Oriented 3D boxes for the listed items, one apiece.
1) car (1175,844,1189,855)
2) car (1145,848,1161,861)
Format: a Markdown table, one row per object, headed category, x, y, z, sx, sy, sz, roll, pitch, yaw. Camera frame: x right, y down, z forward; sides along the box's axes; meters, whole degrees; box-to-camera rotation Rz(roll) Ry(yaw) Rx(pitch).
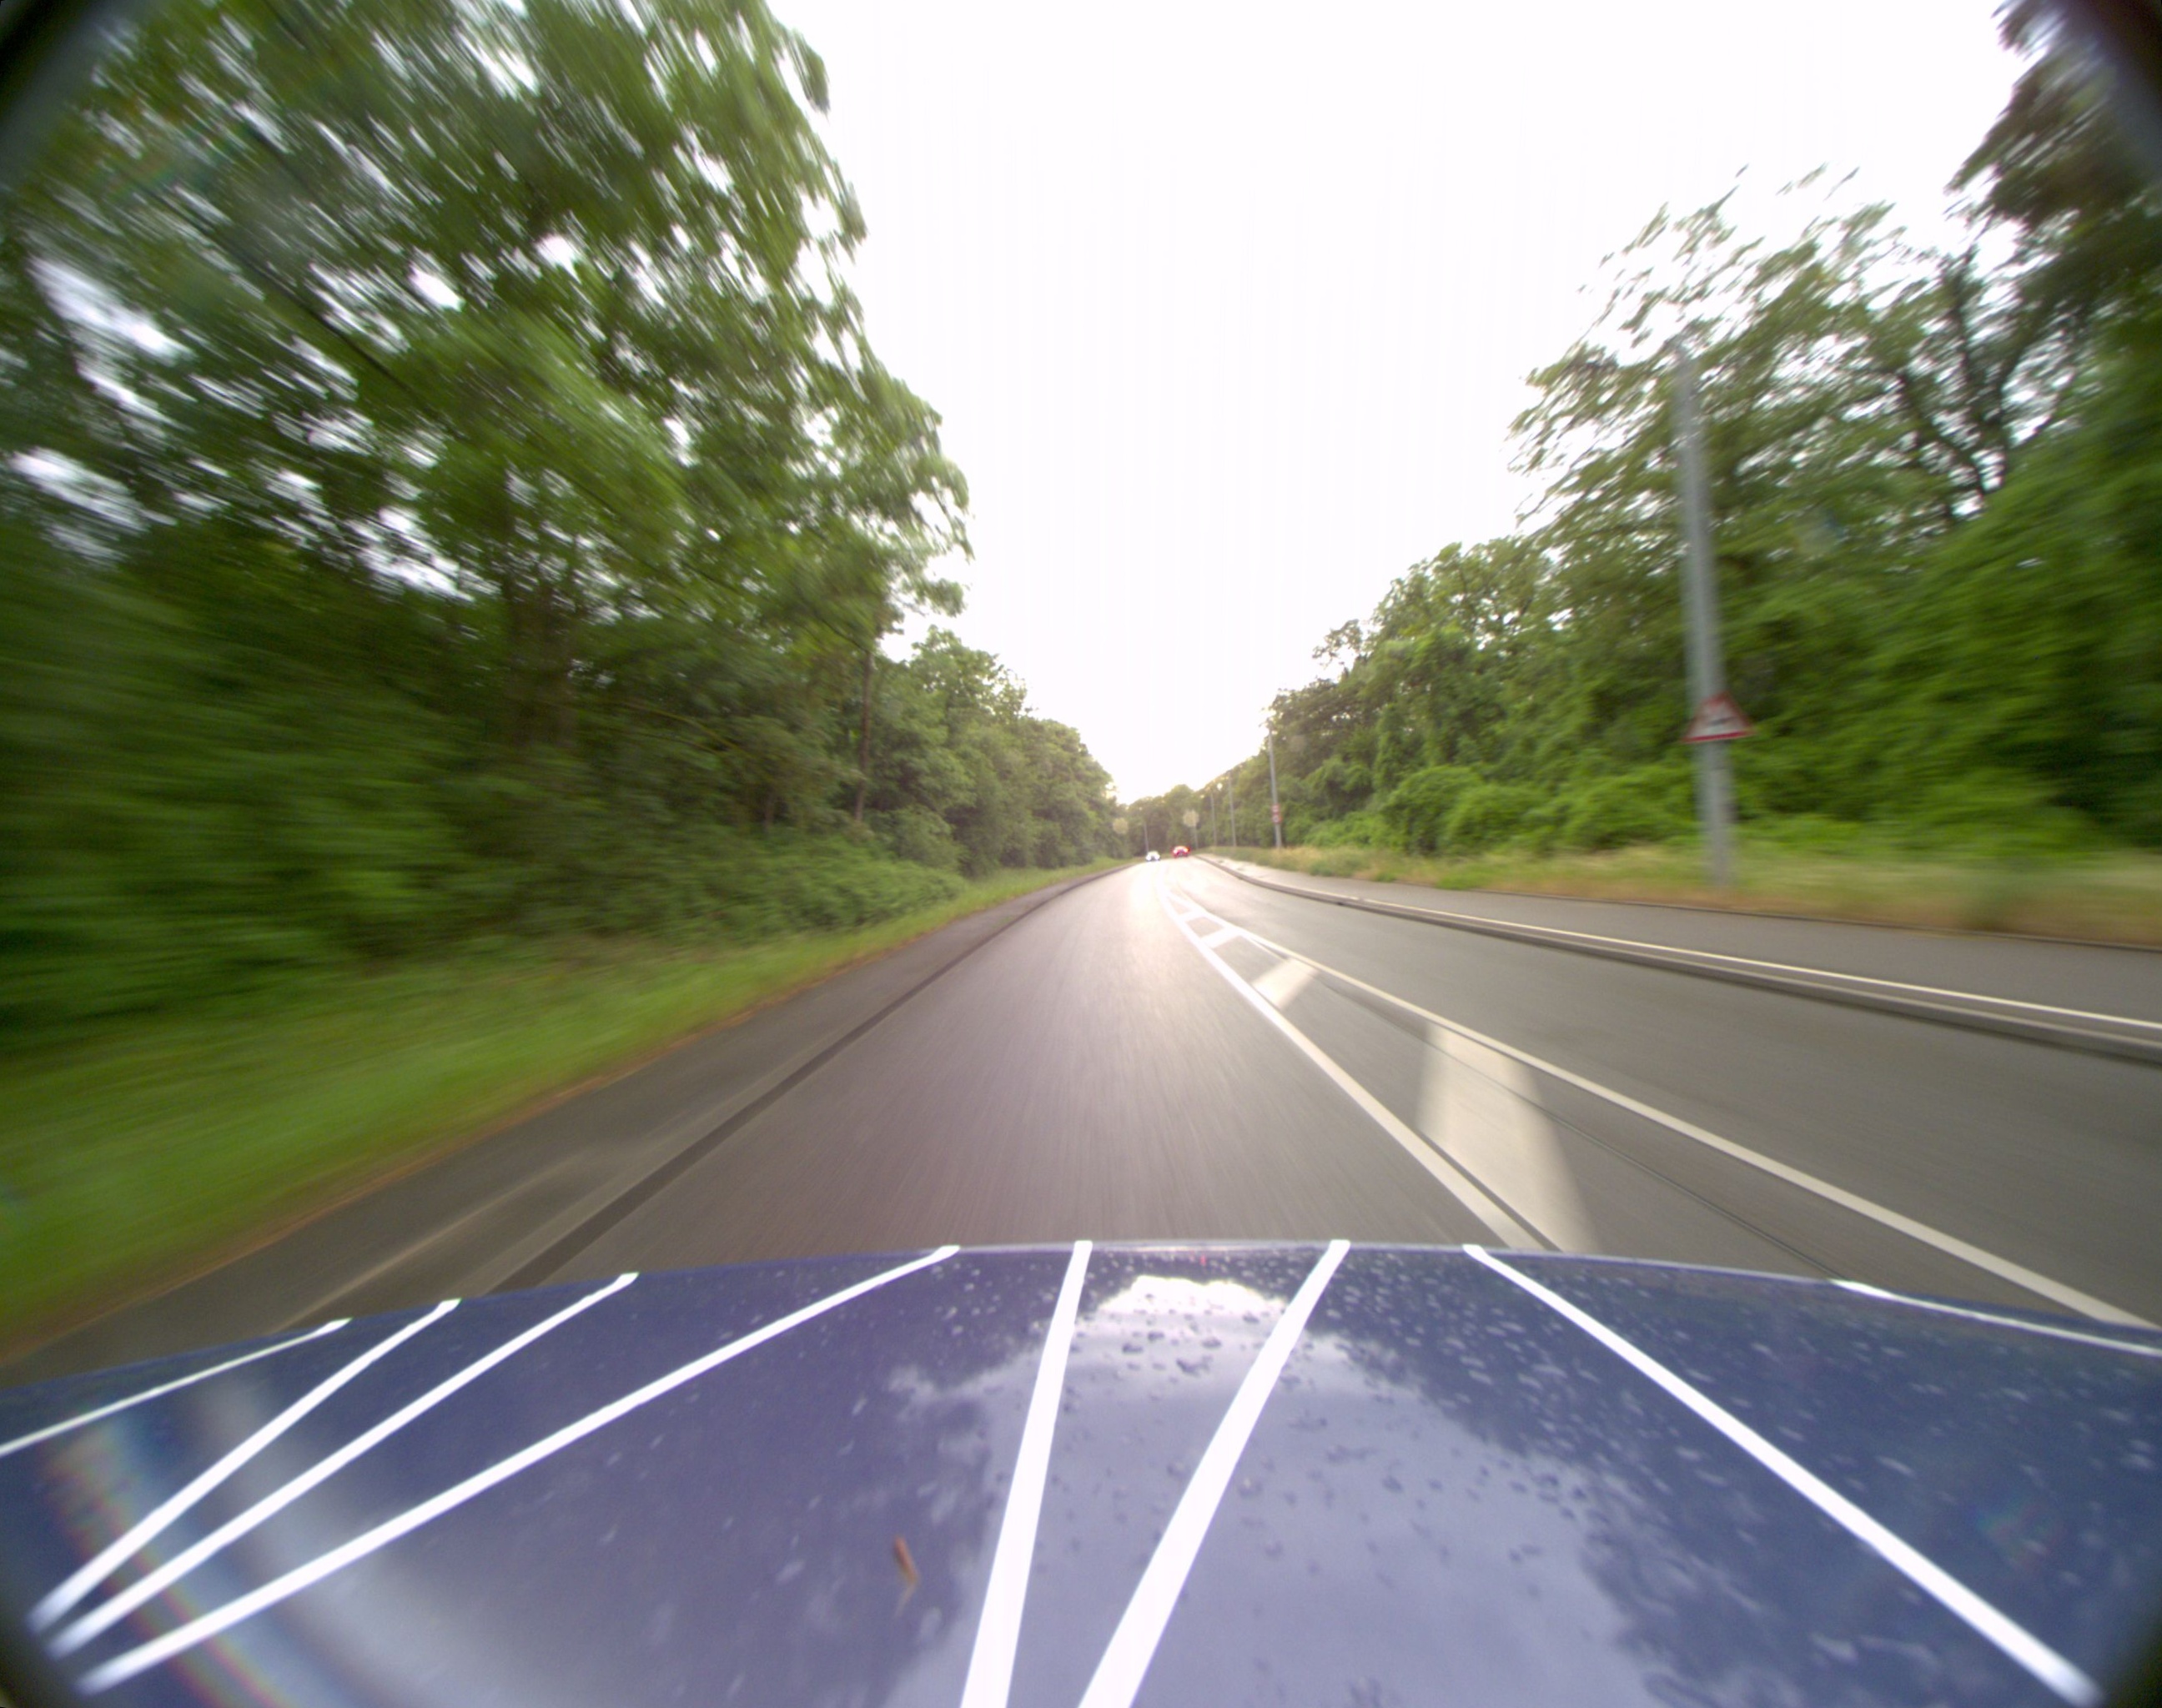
| category | x | y | z | sx | sy | sz | roll | pitch | yaw |
| --- | --- | --- | --- | --- | --- | --- | --- | --- | --- |
| car | 15.154 | -0.691 | 114.174 | 1.997 | 1.674 | 4.002 | -3 | 0 | 9 |
| car | 10.029 | 0.047 | 105.574 | 1.997 | 1.674 | 4.002 | -3 | 0 | 9 |
